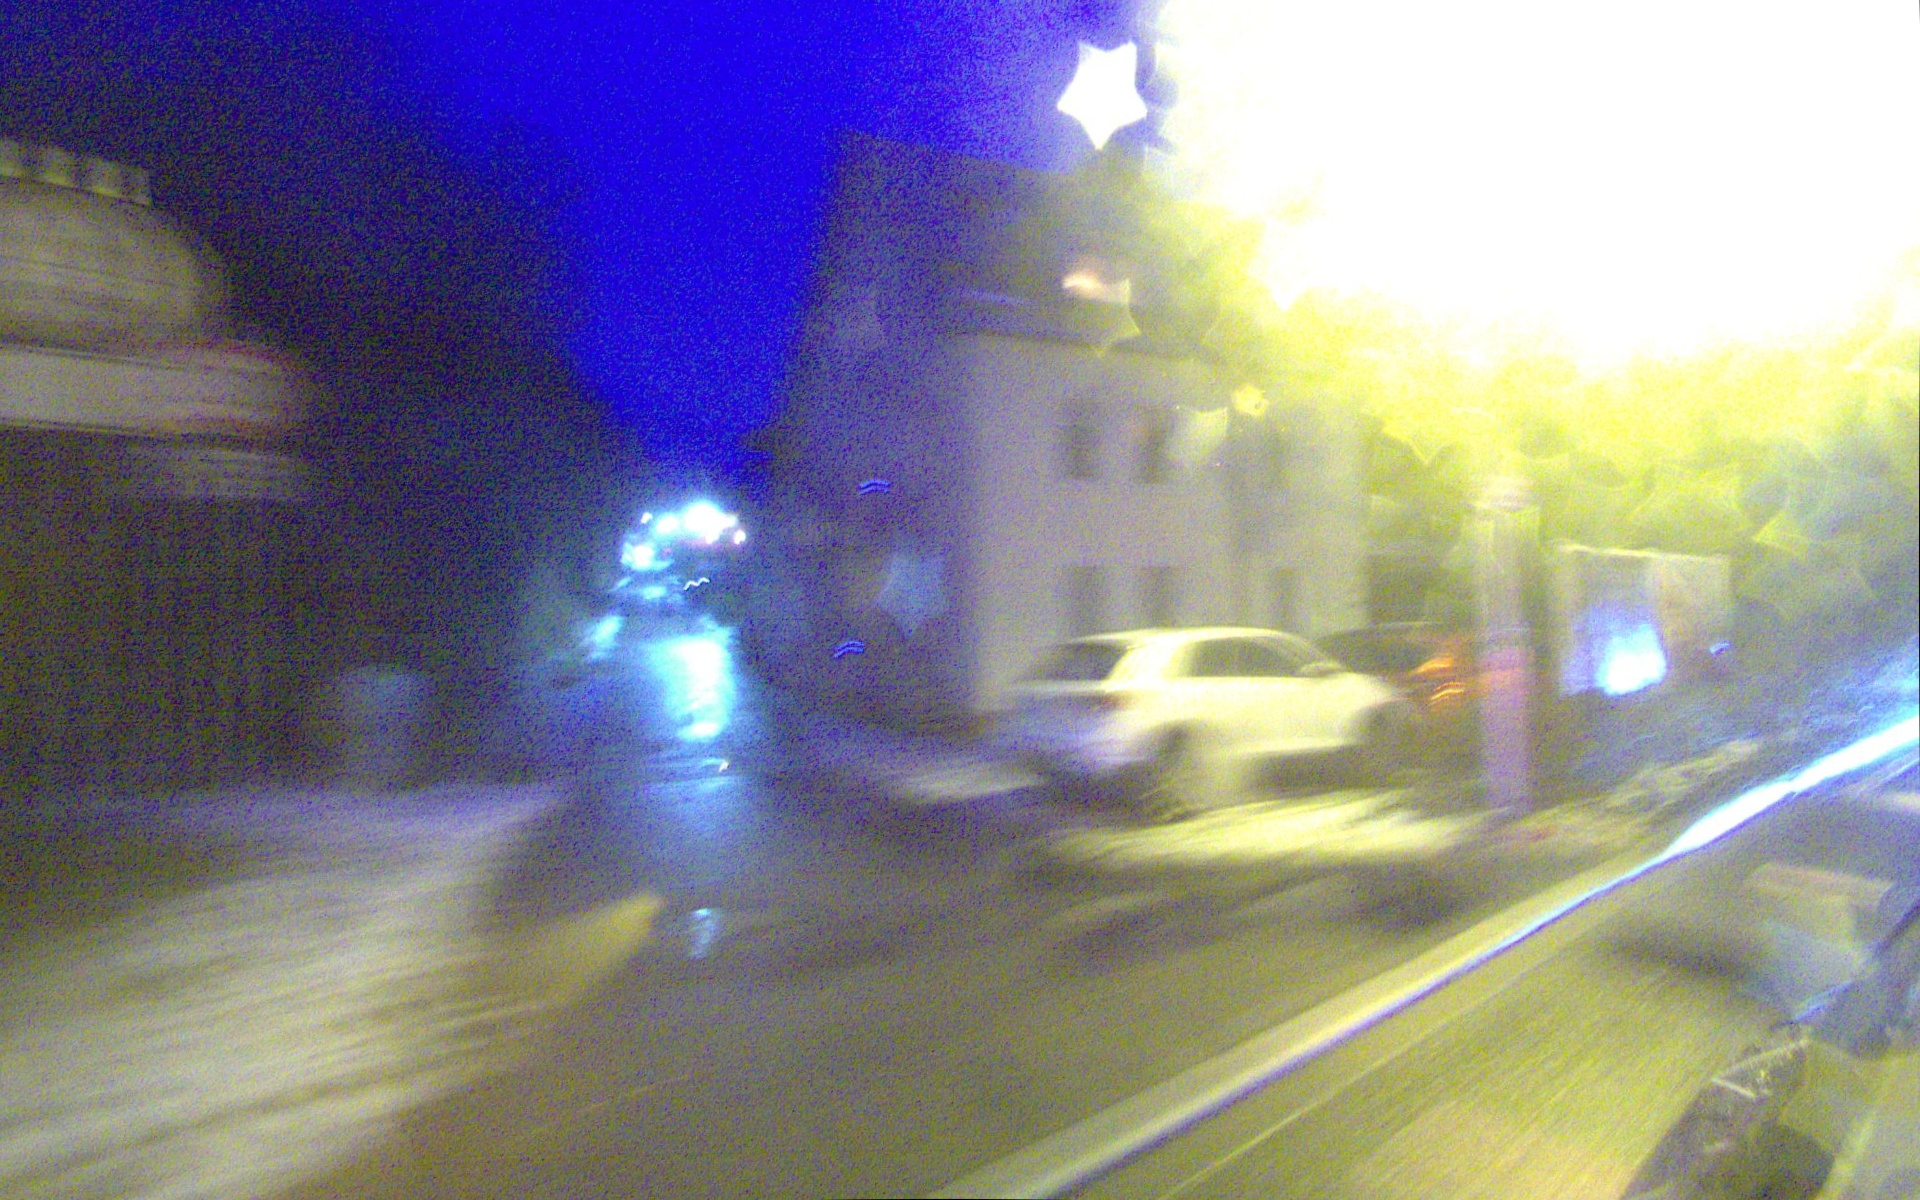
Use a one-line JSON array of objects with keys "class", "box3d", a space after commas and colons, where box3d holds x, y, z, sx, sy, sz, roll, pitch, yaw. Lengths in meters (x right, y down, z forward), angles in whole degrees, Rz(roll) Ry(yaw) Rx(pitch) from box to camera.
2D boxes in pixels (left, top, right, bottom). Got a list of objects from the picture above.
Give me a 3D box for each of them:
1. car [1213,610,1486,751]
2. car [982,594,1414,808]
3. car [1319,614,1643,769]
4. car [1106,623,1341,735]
[{"class": "car", "box3d": [5.387, 1.005, 13.959, 3.464, 1.639, 1.643, 0, 2, -29]}, {"class": "car", "box3d": [2.227, 0.772, 9.251, 3.726, 1.586, 1.681, 1, 0, -31]}, {"class": "car", "box3d": [5.955, 0.913, 11.498, 3.603, 1.415, 1.642, -1, 1, -31]}, {"class": "car", "box3d": [4.360, 1.213, 16.682, 3.601, 1.529, 1.643, 0, 2, -29]}]
